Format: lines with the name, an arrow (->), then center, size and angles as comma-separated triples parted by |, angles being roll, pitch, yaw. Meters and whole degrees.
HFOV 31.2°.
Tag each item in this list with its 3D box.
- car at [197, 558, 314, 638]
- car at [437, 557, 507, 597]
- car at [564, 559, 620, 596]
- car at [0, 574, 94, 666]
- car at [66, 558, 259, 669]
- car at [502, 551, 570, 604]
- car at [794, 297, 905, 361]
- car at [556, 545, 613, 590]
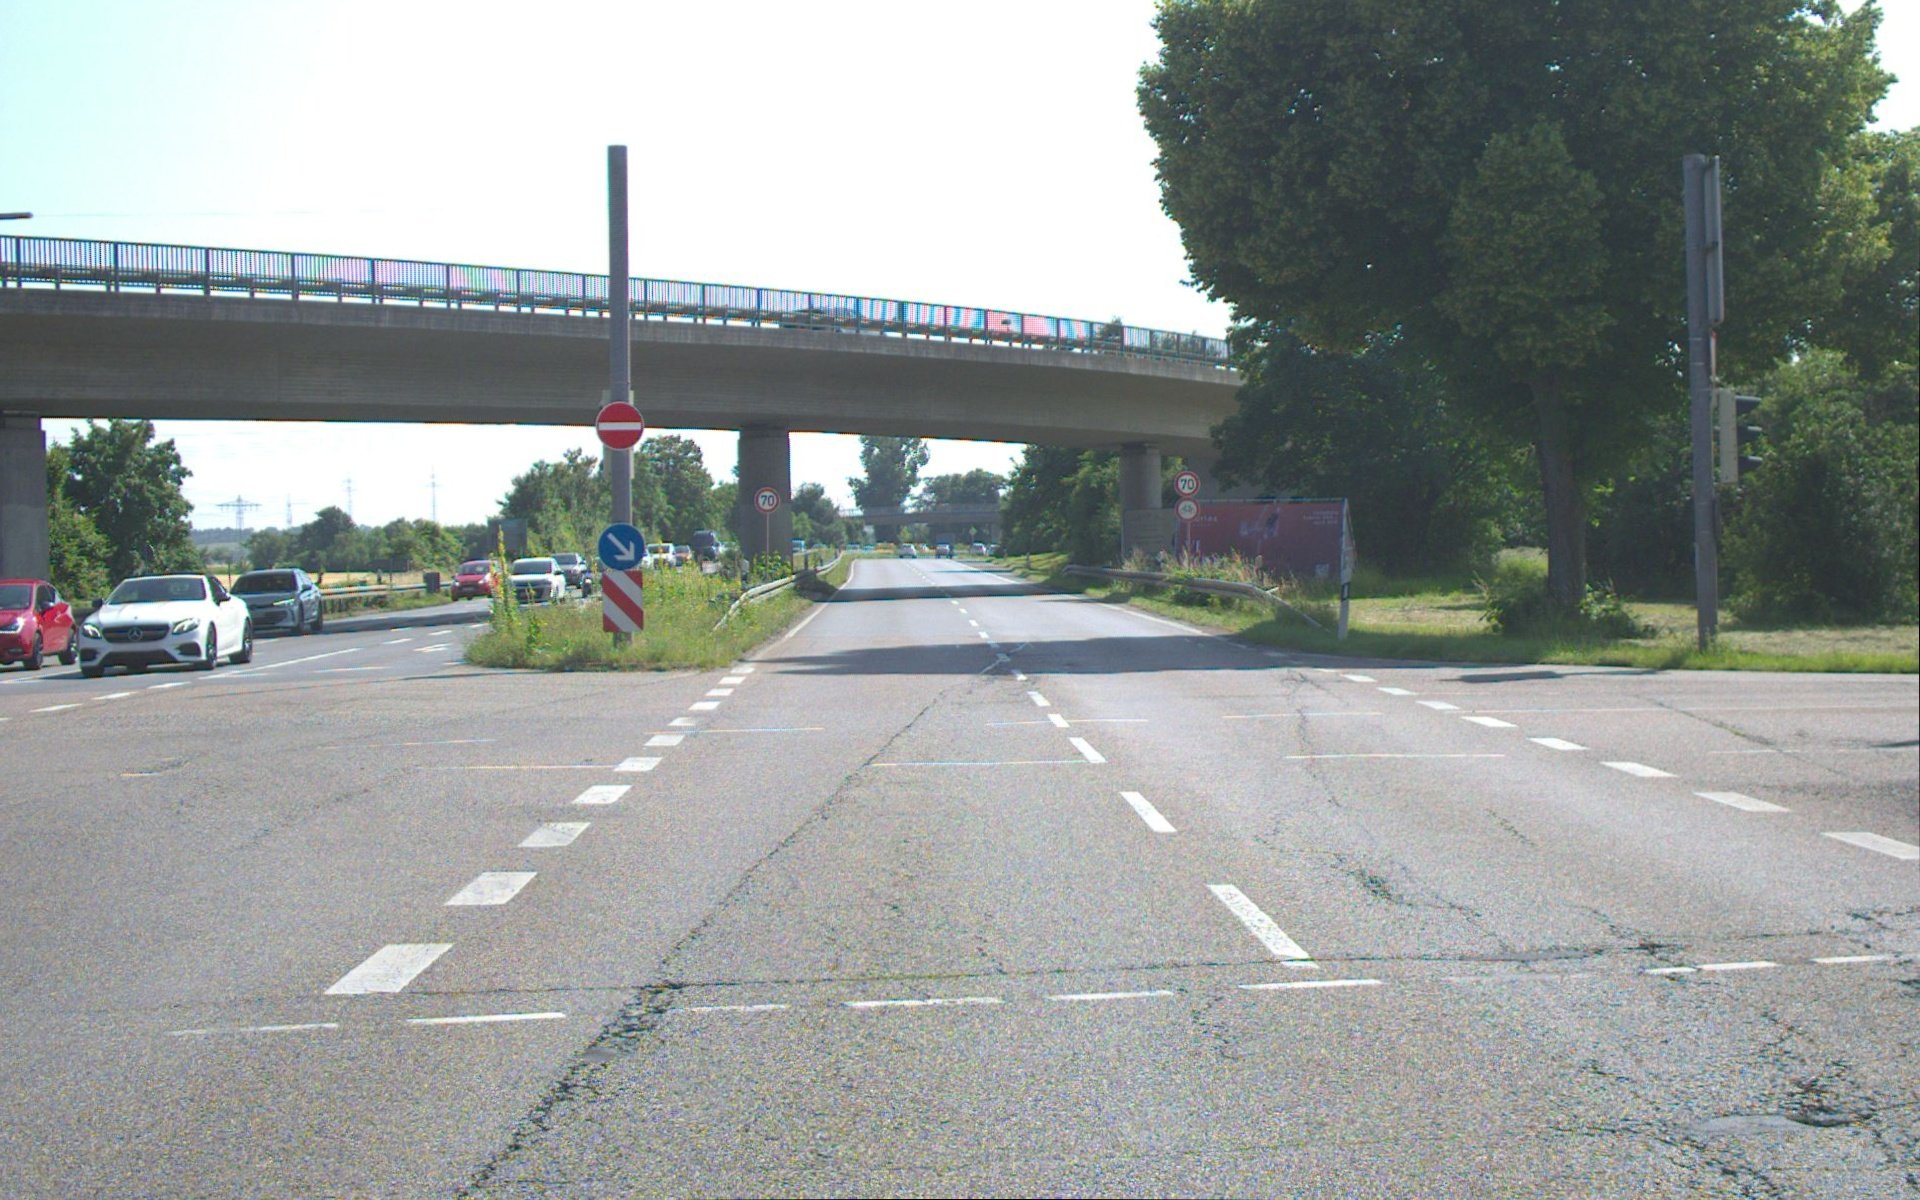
car -> -15.277, -0.060, 74.715 | 1.790, 1.622, 4.000 | -2, 1, -2
car -> -20.116, -0.957, 141.902 | 1.994, 1.553, 3.999 | -2, 1, 5
car -> -13.032, -0.812, 121.877 | 1.557, 1.254, 4.000 | -2, 1, -1
car -> -15.275, 0.310, 55.336 | 1.640, 1.380, 4.241 | -2, 1, -1
car -> -11.671, 0.167, 50.580 | 1.856, 1.443, 4.241 | -3, 1, -1
car -> -12.840, -0.701, 104.269 | 1.557, 1.535, 4.000 | -2, 1, -1
car -> -2.999, -7.412, 94.214 | 1.538, 1.472, 3.386 | -2, 0, 27
car -> -17.581, -1.521, 161.306 | 1.994, 2.007, 4.000 | -2, 1, 3
